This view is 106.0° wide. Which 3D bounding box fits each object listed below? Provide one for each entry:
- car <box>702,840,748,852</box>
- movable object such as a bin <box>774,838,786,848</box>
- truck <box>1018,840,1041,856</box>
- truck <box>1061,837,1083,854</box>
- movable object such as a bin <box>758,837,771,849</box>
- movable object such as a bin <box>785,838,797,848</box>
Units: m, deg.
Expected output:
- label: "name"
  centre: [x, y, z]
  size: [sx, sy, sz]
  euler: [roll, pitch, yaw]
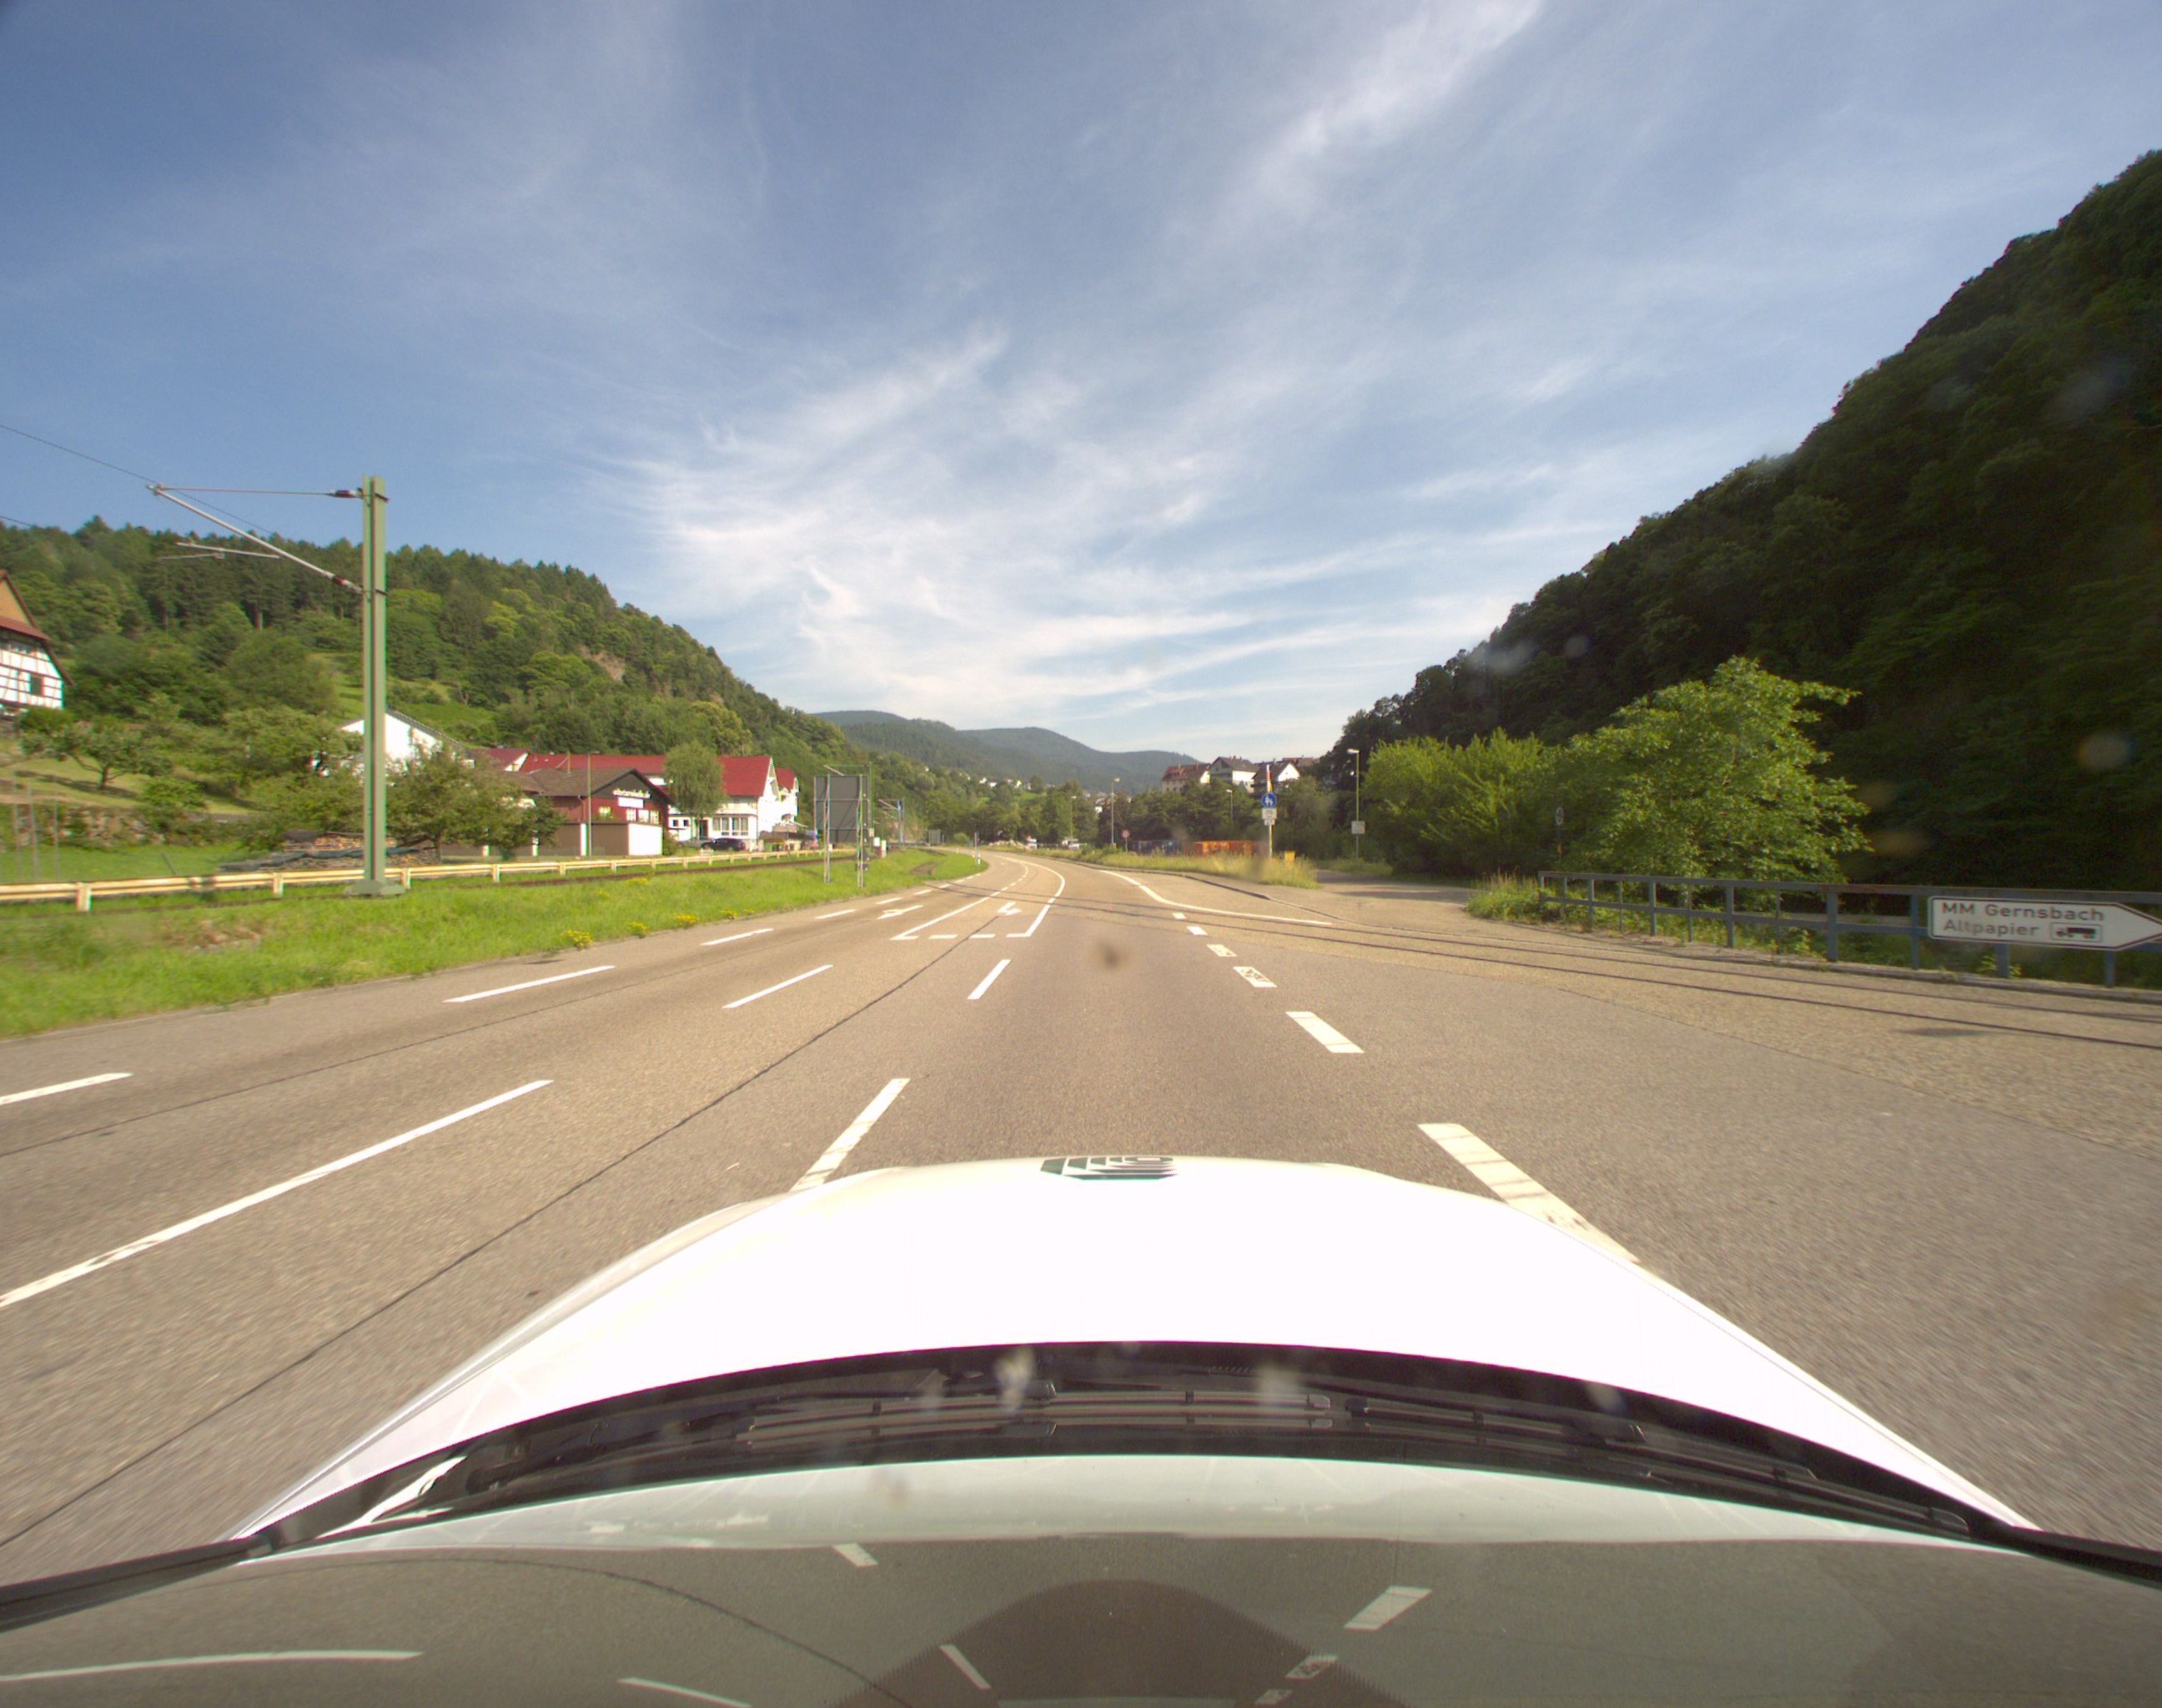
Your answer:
- label: "car"
  centre: [-37.918, -0.893, 86.838]
  size: [4.092, 1.270, 1.732]
  euler: [0, 1, -8]
- label: "movable object such as a bin"
  centre: [-35.142, -1.304, 95.200]
  size: [1.090, 1.192, 1.139]
  euler: [0, 0, -10]
- label: "truck"
  centre: [-12.974, -1.555, 204.700]
  size: [3.117, 3.782, 8.578]
  euler: [1, 0, -23]
- label: "truck"
  centre: [-2.241, -1.874, 188.309]
  size: [3.108, 3.782, 8.602]
  euler: [1, 0, -15]
- label: "movable object such as a bin"
  centre: [-32.214, -1.115, 82.930]
  size: [1.141, 1.192, 1.087]
  euler: [0, 0, -15]
- label: "movable object such as a bin"
  centre: [-34.011, -1.318, 95.505]
  size: [1.090, 1.192, 1.139]
  euler: [0, 0, -10]
